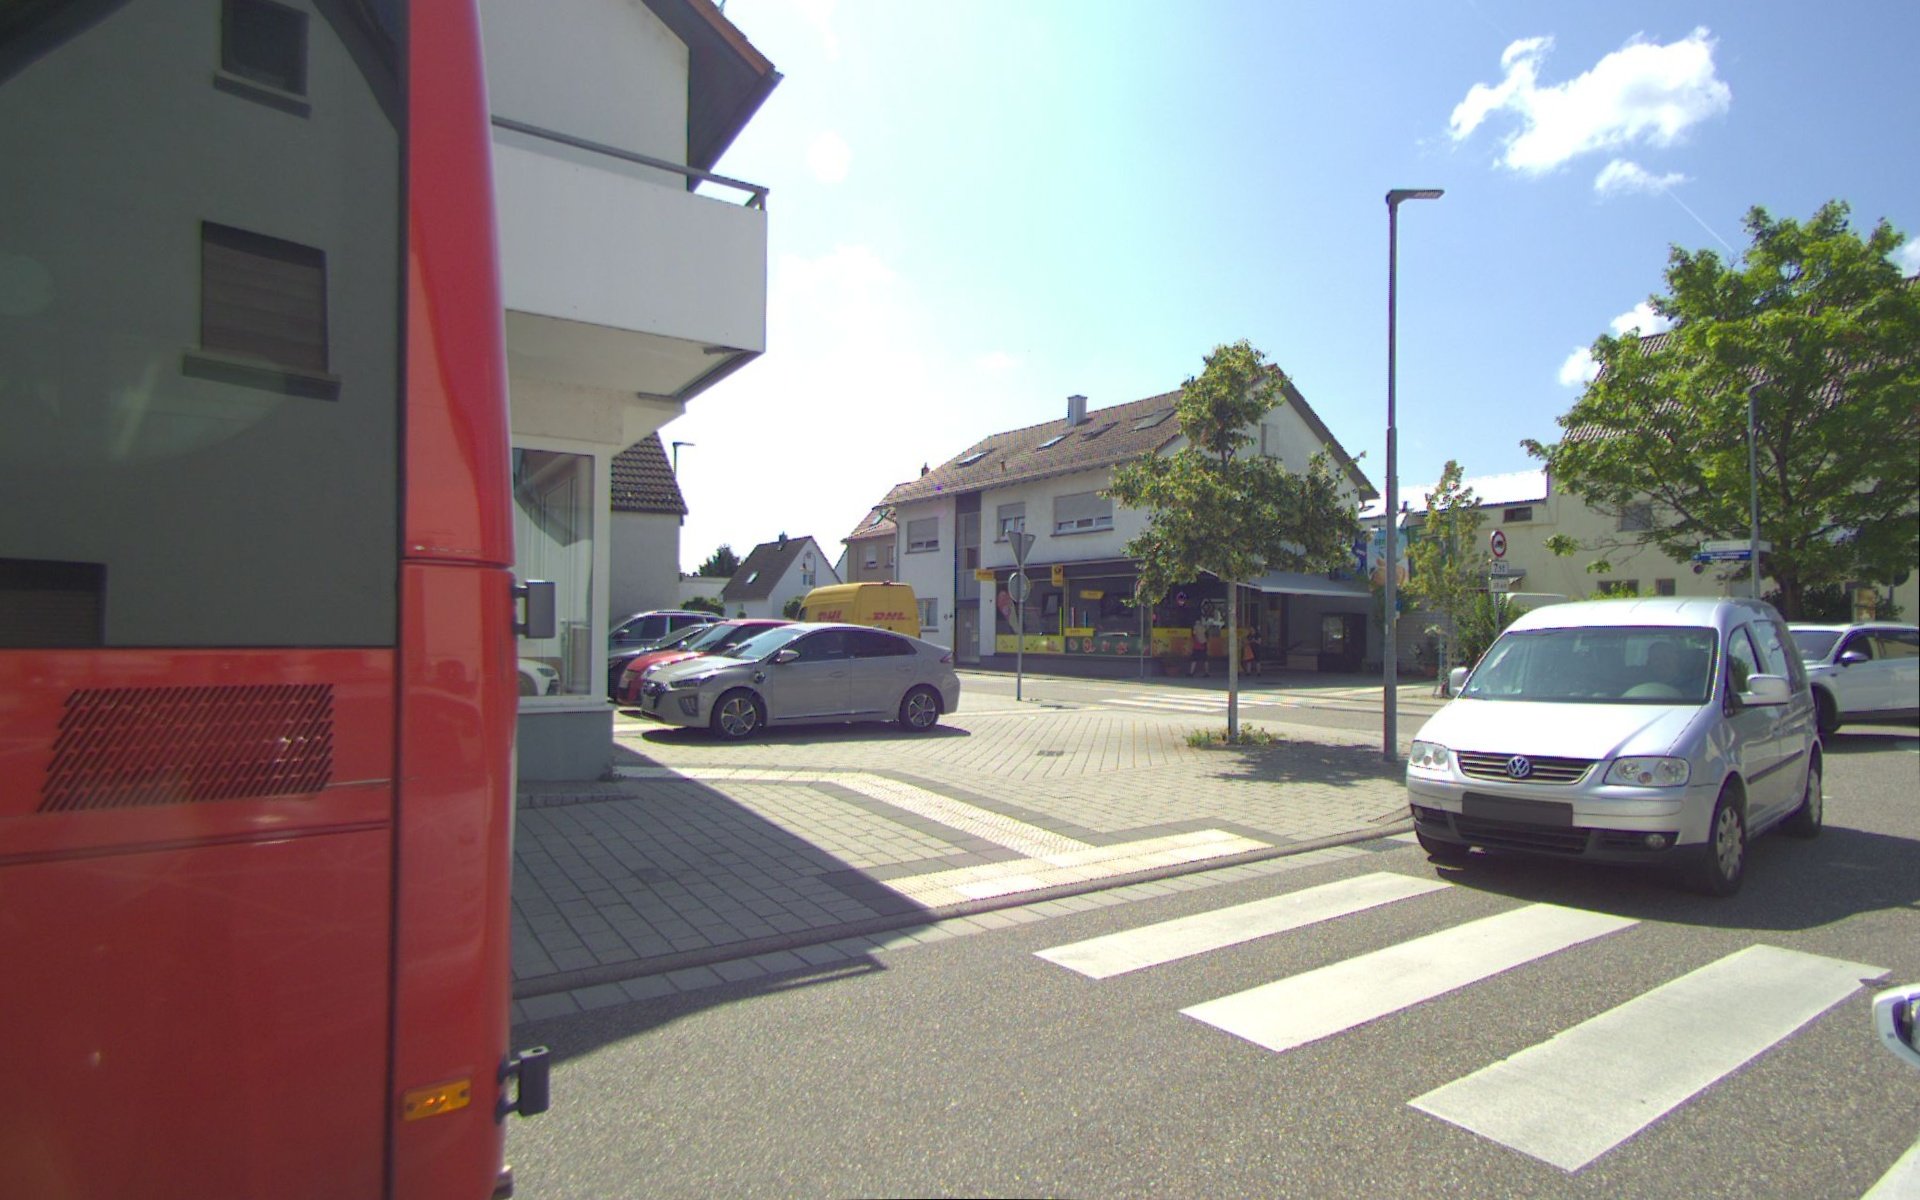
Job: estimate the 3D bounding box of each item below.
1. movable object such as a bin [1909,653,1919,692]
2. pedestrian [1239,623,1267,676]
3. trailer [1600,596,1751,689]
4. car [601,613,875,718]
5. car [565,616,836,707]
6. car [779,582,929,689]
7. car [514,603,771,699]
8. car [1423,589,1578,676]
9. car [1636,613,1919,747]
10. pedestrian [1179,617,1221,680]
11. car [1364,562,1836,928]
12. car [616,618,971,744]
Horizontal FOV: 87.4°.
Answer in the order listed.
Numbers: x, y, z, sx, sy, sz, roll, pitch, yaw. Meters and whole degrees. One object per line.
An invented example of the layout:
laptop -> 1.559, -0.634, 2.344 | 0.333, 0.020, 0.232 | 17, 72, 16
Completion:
movable object such as a bin -> 27.787, 2.080, 28.867 | 0.651, 1.093, 0.597 | 1, -2, -31
pedestrian -> 9.132, 1.528, 31.305 | 0.735, 1.610, 0.881 | 0, 0, 10
trailer -> 19.725, 1.148, 27.650 | 4.475, 2.366, 1.868 | 2, 0, -33
car -> -3.502, 1.010, 16.109 | 3.924, 1.496, 1.736 | 2, -2, -34
car -> -4.674, 1.093, 18.343 | 4.433, 1.470, 1.819 | 2, -2, -34
car -> -3.049, 0.962, 27.574 | 2.087, 2.606, 5.641 | 1, -2, -29
car -> -6.494, 1.044, 20.763 | 4.701, 1.762, 1.968 | 2, -2, -34
car -> 17.464, 1.037, 32.370 | 5.586, 2.601, 1.925 | 2, 0, -33
car -> 12.291, 1.090, 14.484 | 4.470, 1.732, 1.865 | 1, -2, -18
pedestrian -> 7.313, 1.455, 30.644 | 1.013, 1.850, 0.776 | -1, 0, -34
car -> 4.795, 0.828, 7.236 | 4.409, 1.845, 1.756 | 2, -4, -42
car -> -2.187, 1.038, 13.745 | 4.433, 1.470, 1.819 | 2, -2, -34
